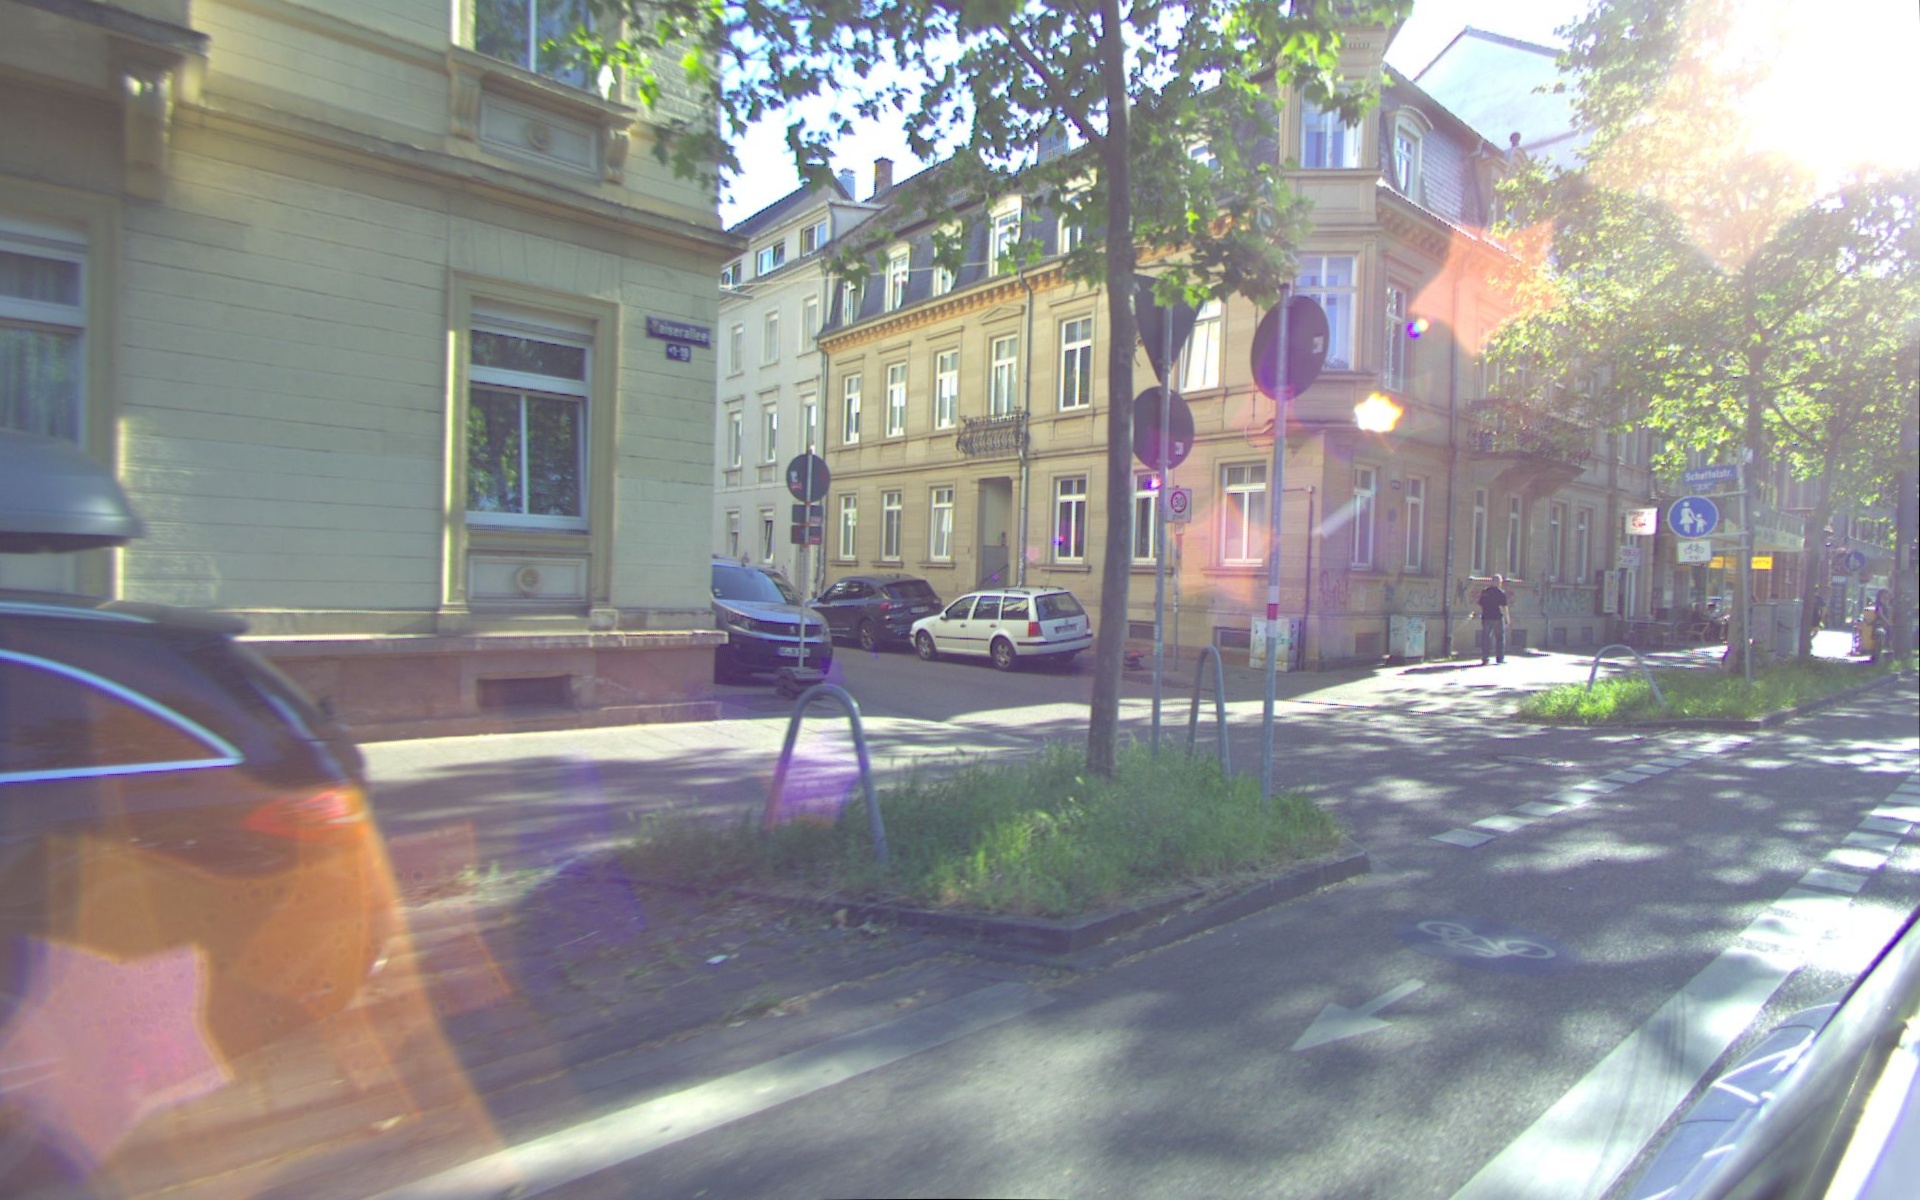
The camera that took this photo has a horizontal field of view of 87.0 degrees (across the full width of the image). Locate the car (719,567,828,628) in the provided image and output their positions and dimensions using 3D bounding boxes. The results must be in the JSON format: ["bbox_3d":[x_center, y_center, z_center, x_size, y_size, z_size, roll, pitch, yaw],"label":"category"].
[{"bbox_3d":[-5.152,-0.090,27.715,1.591,1.580,3.246,1,0,-38],"label":"car"}]

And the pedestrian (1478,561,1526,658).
[{"bbox_3d":[10.618,0.179,19.829,0.943,1.850,0.564,2,-1,-44],"label":"pedestrian"}]

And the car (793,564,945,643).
[{"bbox_3d":[-2.212,0.073,23.773,1.636,1.699,3.997,1,-1,-38],"label":"car"}]

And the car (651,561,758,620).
[{"bbox_3d":[-7.957,-0.326,31.294,1.757,1.634,3.875,1,2,-38],"label":"car"}]

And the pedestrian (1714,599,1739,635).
[{"bbox_3d":[25.458,0.557,33.619,0.644,1.176,0.602,0,-1,39],"label":"pedestrian"}]

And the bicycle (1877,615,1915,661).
[{"bbox_3d":[20.731,0.825,22.406,1.719,0.982,0.428,1,-1,-41],"label":"bicycle"}]

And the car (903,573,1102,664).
[{"bbox_3d":[0.721,0.299,19.873,1.618,1.523,4.070,1,2,-38],"label":"car"}]

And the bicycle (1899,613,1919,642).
[{"bbox_3d":[33.621,0.962,34.746,0.436,1.006,2.006,1,-1,-42],"label":"bicycle"}]

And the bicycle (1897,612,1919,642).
[{"bbox_3d":[33.266,0.937,34.423,0.436,1.006,2.016,1,-1,-42],"label":"bicycle"}]

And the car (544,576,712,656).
[{"bbox_3d":[-6.584,0.235,19.742,1.811,1.364,4.383,0,1,-37],"label":"car"}]

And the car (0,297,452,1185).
[{"bbox_3d":[-3.778,0.278,2.002,4.654,1.989,1.758,1,1,-41],"label":"car"}]

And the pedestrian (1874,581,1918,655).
[{"bbox_3d":[23.143,0.445,25.022,0.852,1.794,0.644,1,-1,-34],"label":"pedestrian"}]

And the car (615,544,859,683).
[{"bbox_3d":[-3.564,0.125,15.474,1.885,1.795,4.596,1,1,-37],"label":"car"}]

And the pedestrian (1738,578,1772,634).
[{"bbox_3d":[25.971,0.197,33.056,0.758,1.833,0.470,1,-1,-9],"label":"pedestrian"}]

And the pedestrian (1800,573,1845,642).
[{"bbox_3d":[26.119,0.229,30.651,0.840,2.039,0.884,1,-1,-37],"label":"pedestrian"}]

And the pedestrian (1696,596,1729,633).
[{"bbox_3d":[24.233,0.474,32.611,0.643,1.176,0.671,1,-1,14],"label":"pedestrian"}]
